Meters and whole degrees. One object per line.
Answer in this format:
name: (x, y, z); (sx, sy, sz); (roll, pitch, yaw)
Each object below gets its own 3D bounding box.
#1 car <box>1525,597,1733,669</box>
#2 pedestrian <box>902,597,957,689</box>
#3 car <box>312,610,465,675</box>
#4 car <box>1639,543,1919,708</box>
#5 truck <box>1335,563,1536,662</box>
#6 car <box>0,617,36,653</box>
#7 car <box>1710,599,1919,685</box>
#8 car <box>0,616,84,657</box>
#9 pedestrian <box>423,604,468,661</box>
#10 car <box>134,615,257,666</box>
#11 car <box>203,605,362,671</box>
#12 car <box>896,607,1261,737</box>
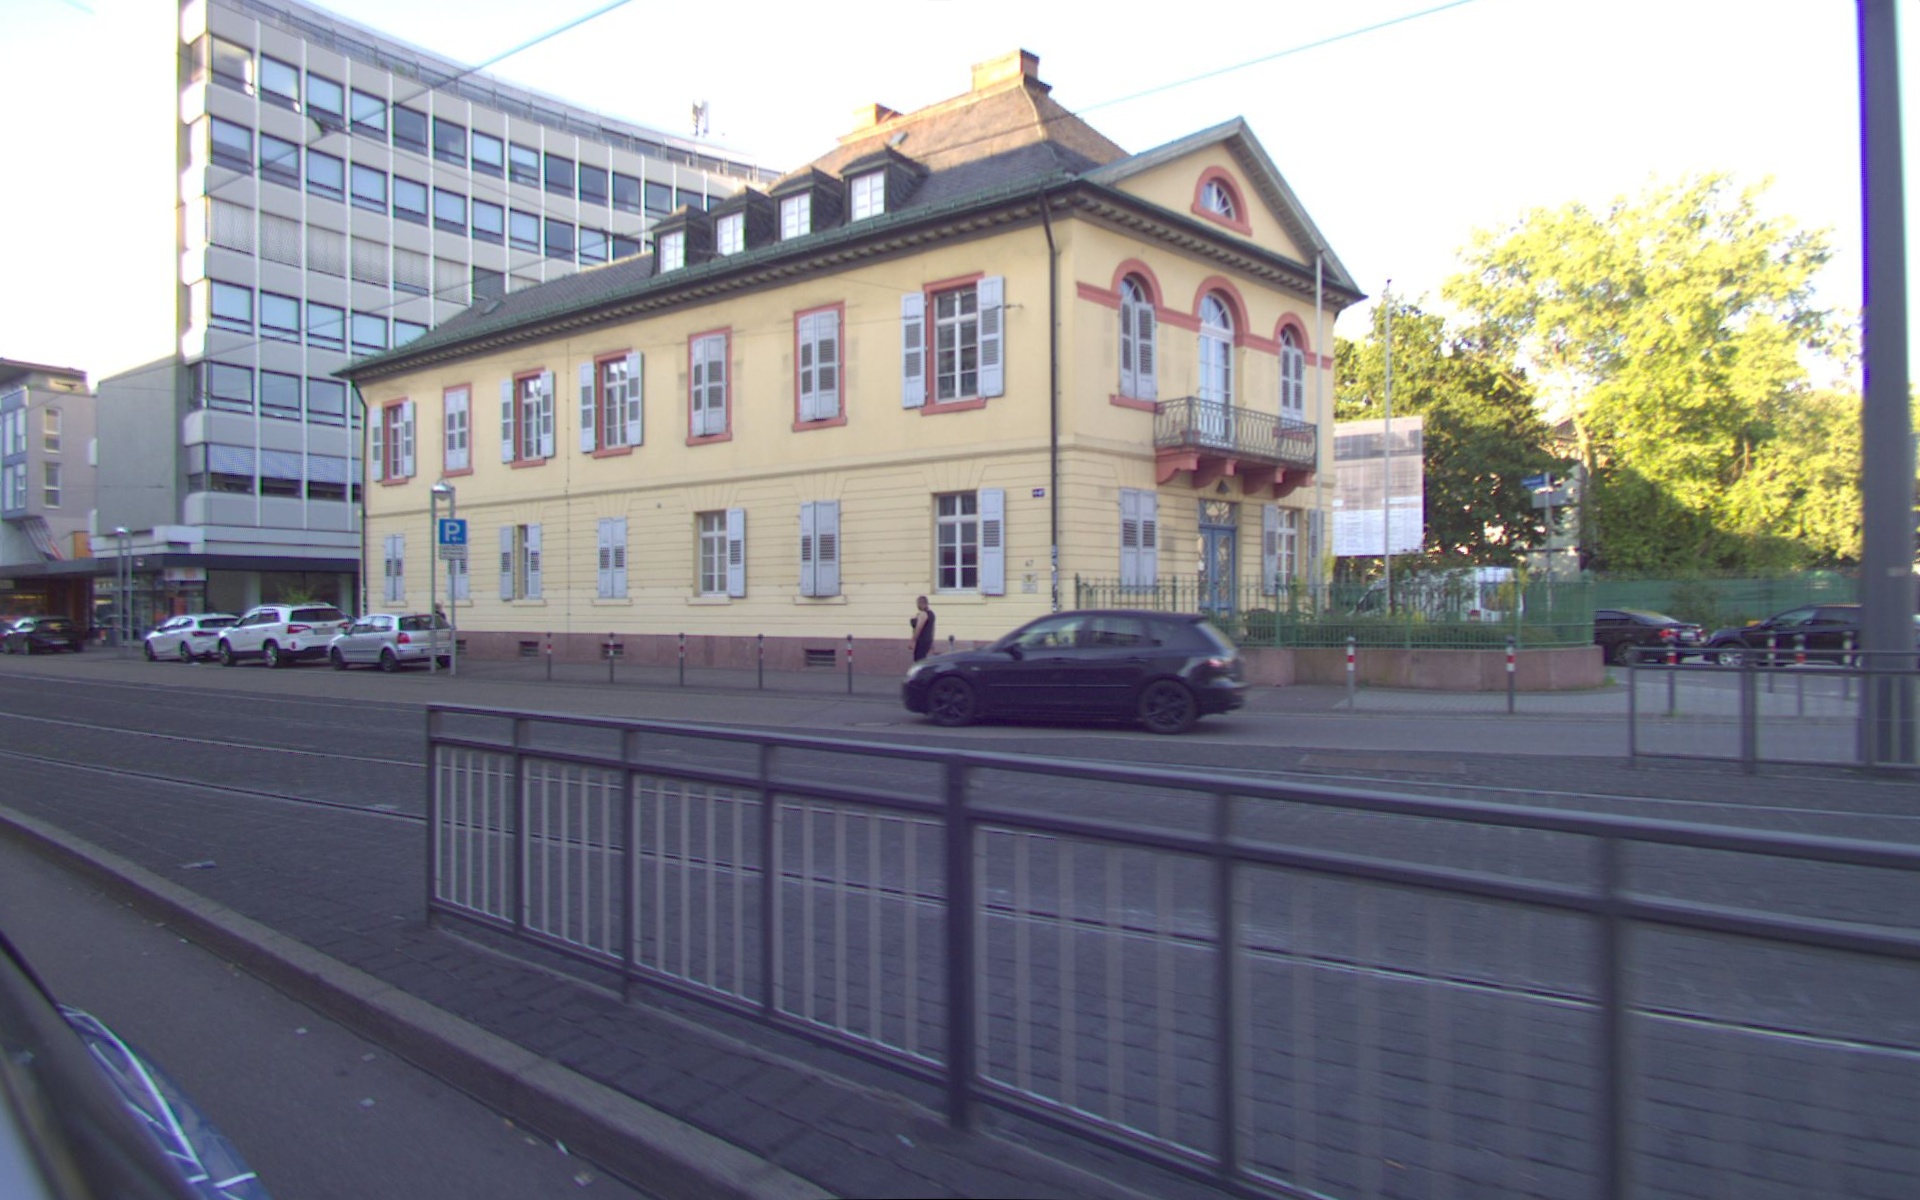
car: (16.850, 0.758, 25.724); (1.965, 1.588, 4.013); (-1, 1, -21)
pedestrian: (-0.529, 0.731, 17.610); (0.716, 1.548, 0.715); (-1, -1, 28)
car: (-14.624, 1.062, 25.843); (3.987, 1.485, 1.735); (-1, 1, 33)
car: (11.659, 0.346, 14.561); (1.983, 2.029, 3.978); (-1, -1, 17)
truck: (14.323, 0.295, 30.934); (2.158, 2.719, 5.485); (-1, 1, -23)
car: (-40.159, 1.462, 42.114); (3.581, 1.445, 1.678); (-1, -1, 33)
car: (18.619, 0.797, 21.392); (1.965, 1.558, 4.013); (-1, 1, -21)
car: (-35.988, 1.415, 39.488); (3.953, 1.436, 1.679); (-1, 1, 33)
pedestrian: (-14.553, 0.897, 28.654); (0.875, 1.553, 0.793); (0, 1, 35)
car: (-24.264, 1.242, 32.071); (4.269, 1.464, 1.708); (-1, 1, 32)
car: (-19.137, 1.023, 28.552); (4.743, 1.673, 1.873); (-1, 1, 31)
car: (1.481, 0.796, 12.415); (4.189, 1.386, 1.761); (-1, 0, 19)
